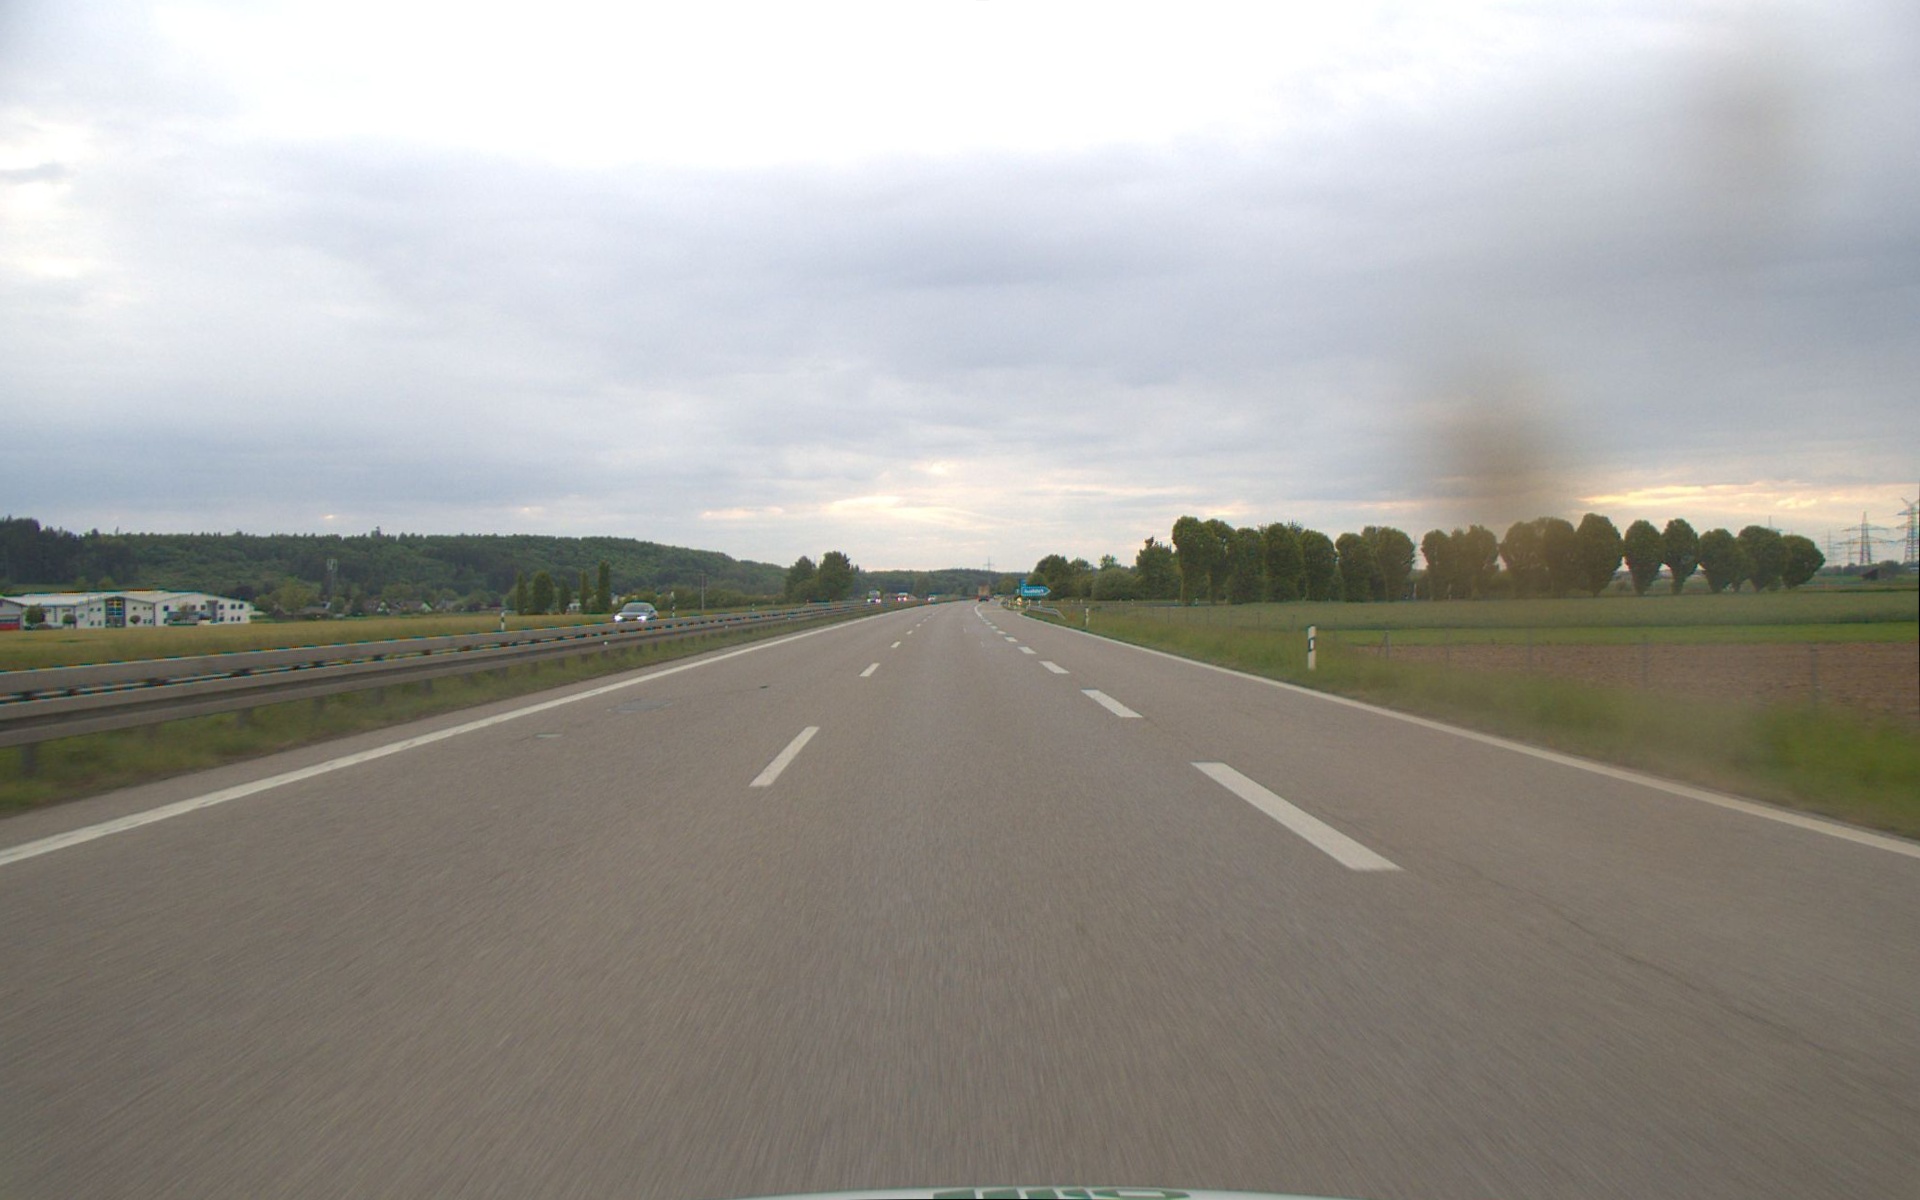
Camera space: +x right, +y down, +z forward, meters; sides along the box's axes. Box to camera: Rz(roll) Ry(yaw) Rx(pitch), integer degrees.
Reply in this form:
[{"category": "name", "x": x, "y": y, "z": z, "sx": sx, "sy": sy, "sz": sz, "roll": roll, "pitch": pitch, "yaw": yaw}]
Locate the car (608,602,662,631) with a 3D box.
[{"category": "car", "x": -17.080, "y": 0.844, "z": 87.123, "sx": 1.953, "sy": 1.441, "sz": 4.523, "roll": 0, "pitch": 0, "yaw": -1}]
